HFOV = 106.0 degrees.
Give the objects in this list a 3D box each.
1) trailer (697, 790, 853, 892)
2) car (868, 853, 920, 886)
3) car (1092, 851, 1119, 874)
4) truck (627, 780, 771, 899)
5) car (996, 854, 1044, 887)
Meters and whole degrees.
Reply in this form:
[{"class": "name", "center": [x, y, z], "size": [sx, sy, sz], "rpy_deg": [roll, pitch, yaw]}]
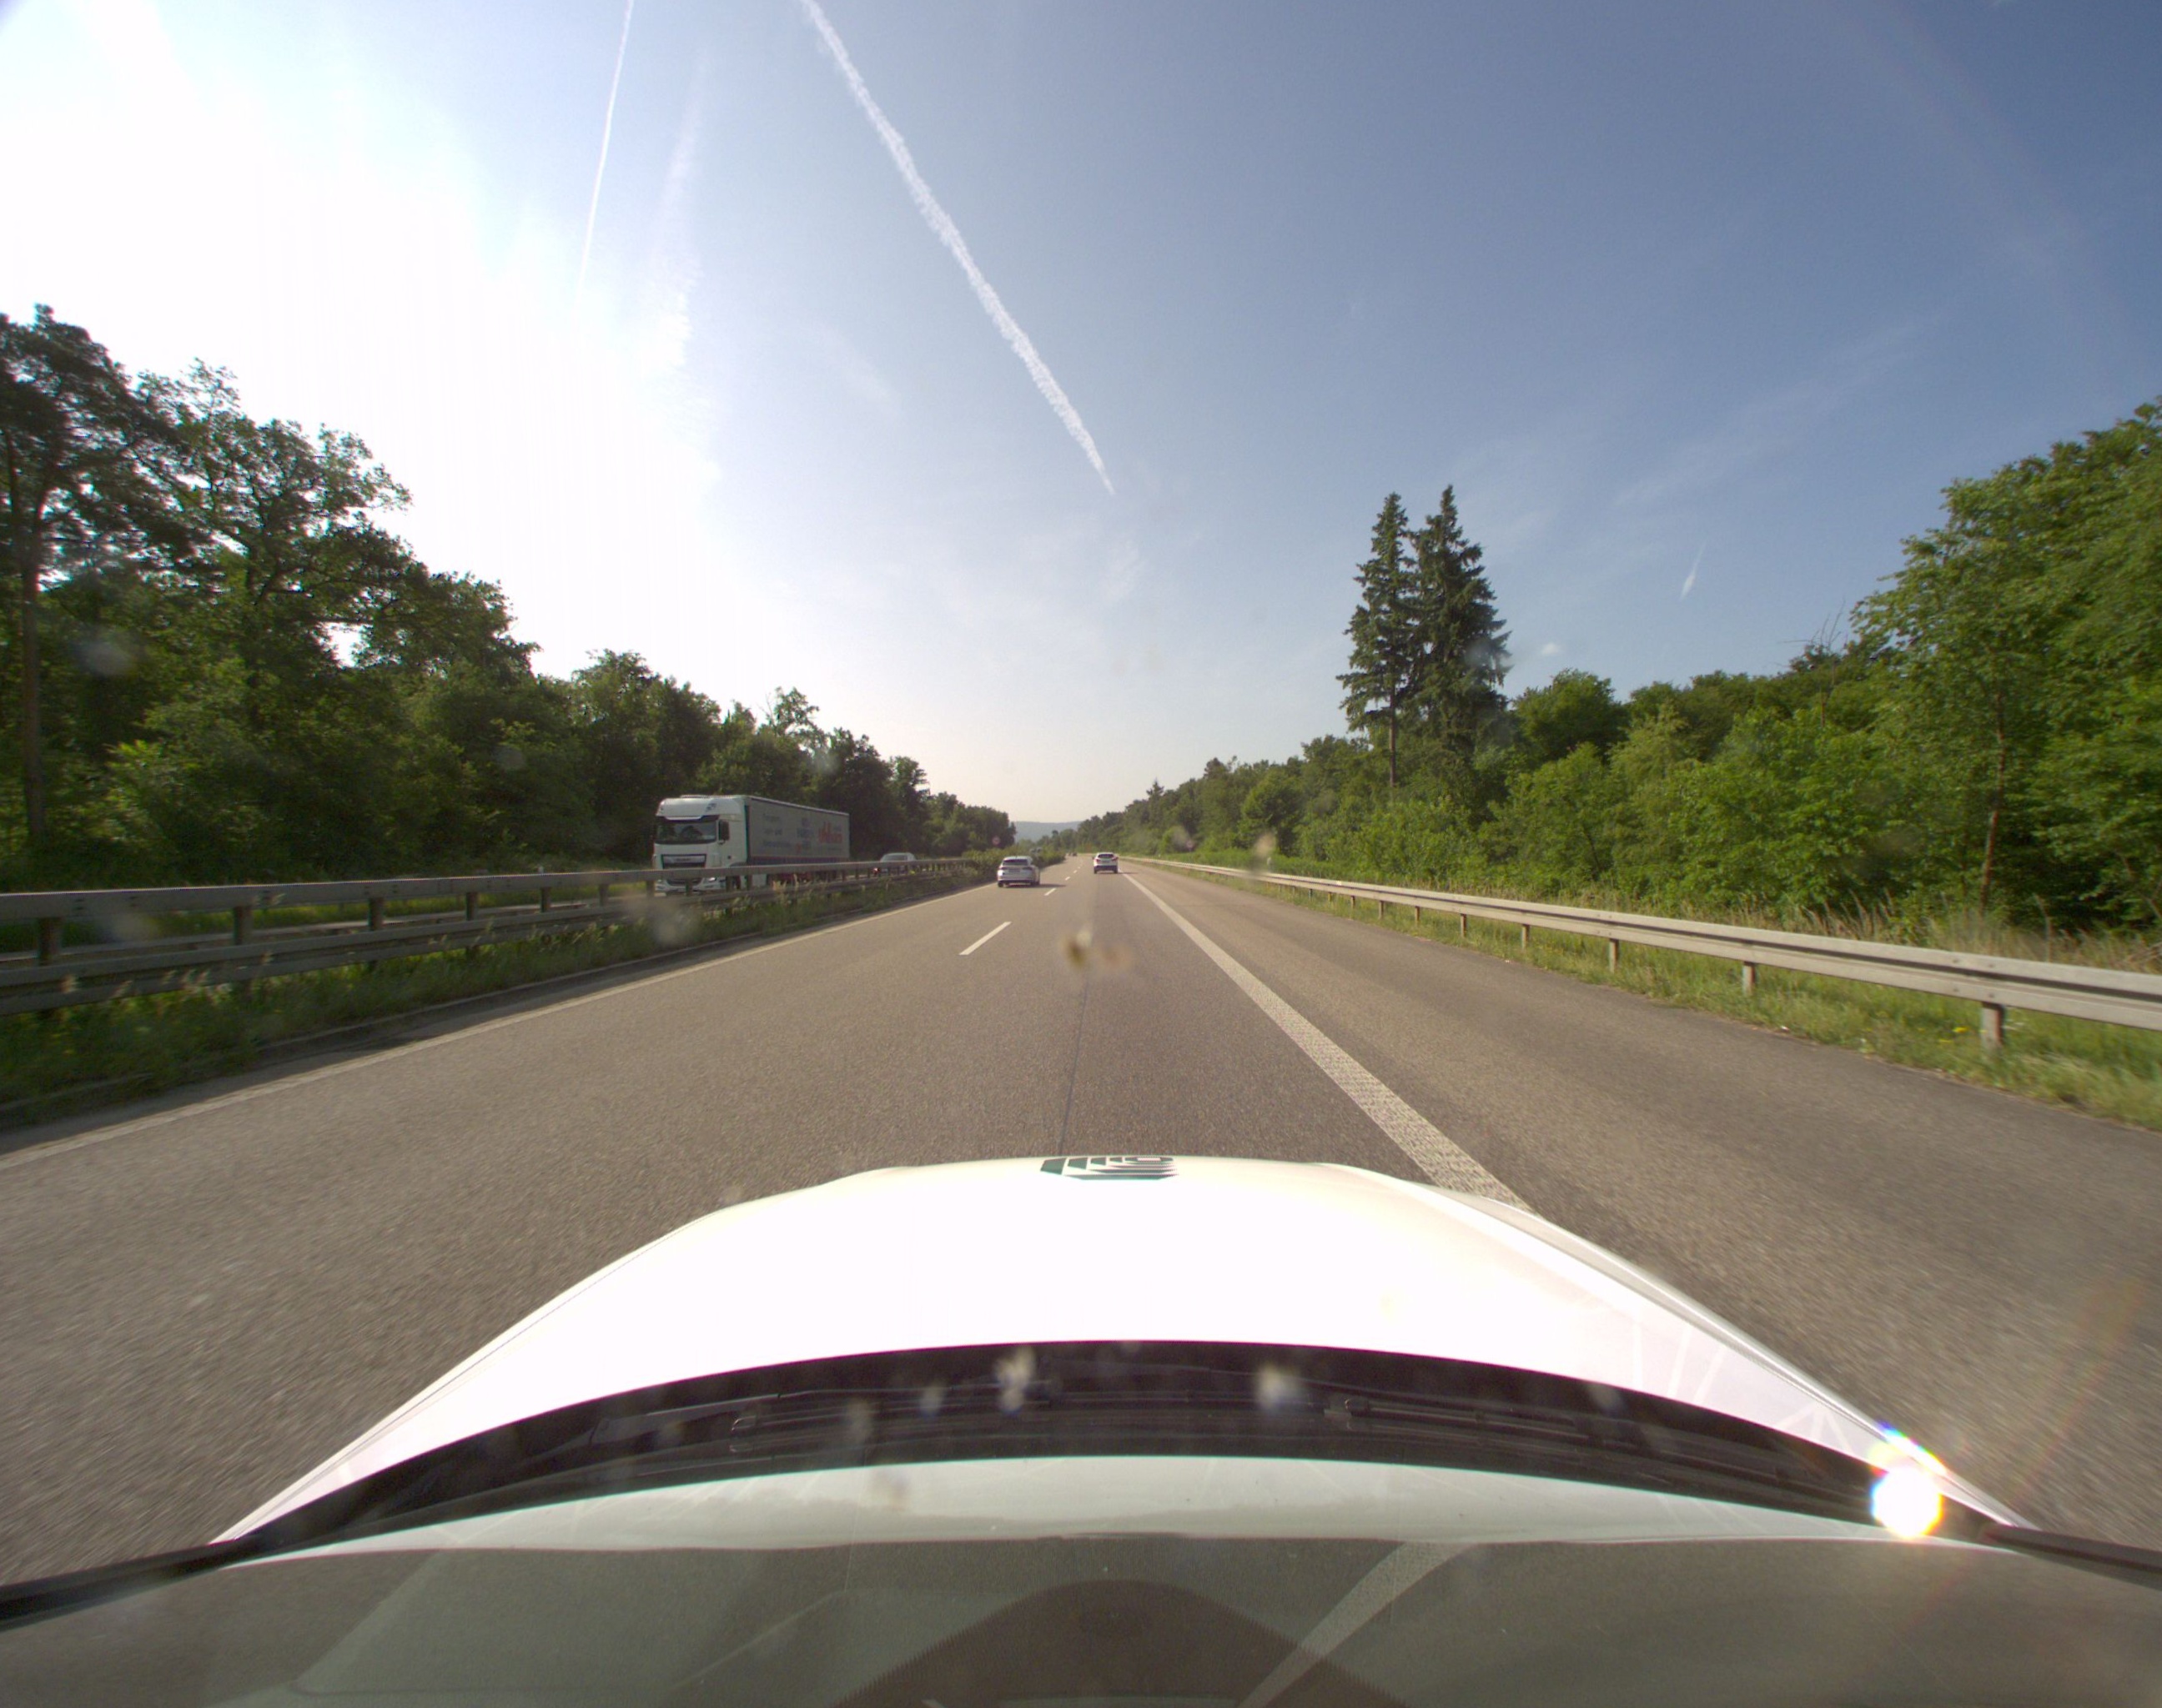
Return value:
[{"class": "trailer", "center": [-14.631, -0.538, 40.497], "size": [2.823, 4.208, 12.412], "rpy_deg": [-2, 0, 1]}, {"class": "car", "center": [-10.022, 0.801, 43.994], "size": [1.679, 1.688, 4.170], "rpy_deg": [-1, 0, 2]}, {"class": "car", "center": [1.837, 0.619, 61.994], "size": [1.868, 1.586, 3.999], "rpy_deg": [1, 0, -1]}, {"class": "truck", "center": [-14.690, -0.523, 31.851], "size": [2.828, 4.196, 5.547], "rpy_deg": [-2, 0, 1]}, {"class": "car", "center": [-2.927, 0.780, 40.058], "size": [1.786, 1.438, 5.279], "rpy_deg": [-2, 0, 1]}]
